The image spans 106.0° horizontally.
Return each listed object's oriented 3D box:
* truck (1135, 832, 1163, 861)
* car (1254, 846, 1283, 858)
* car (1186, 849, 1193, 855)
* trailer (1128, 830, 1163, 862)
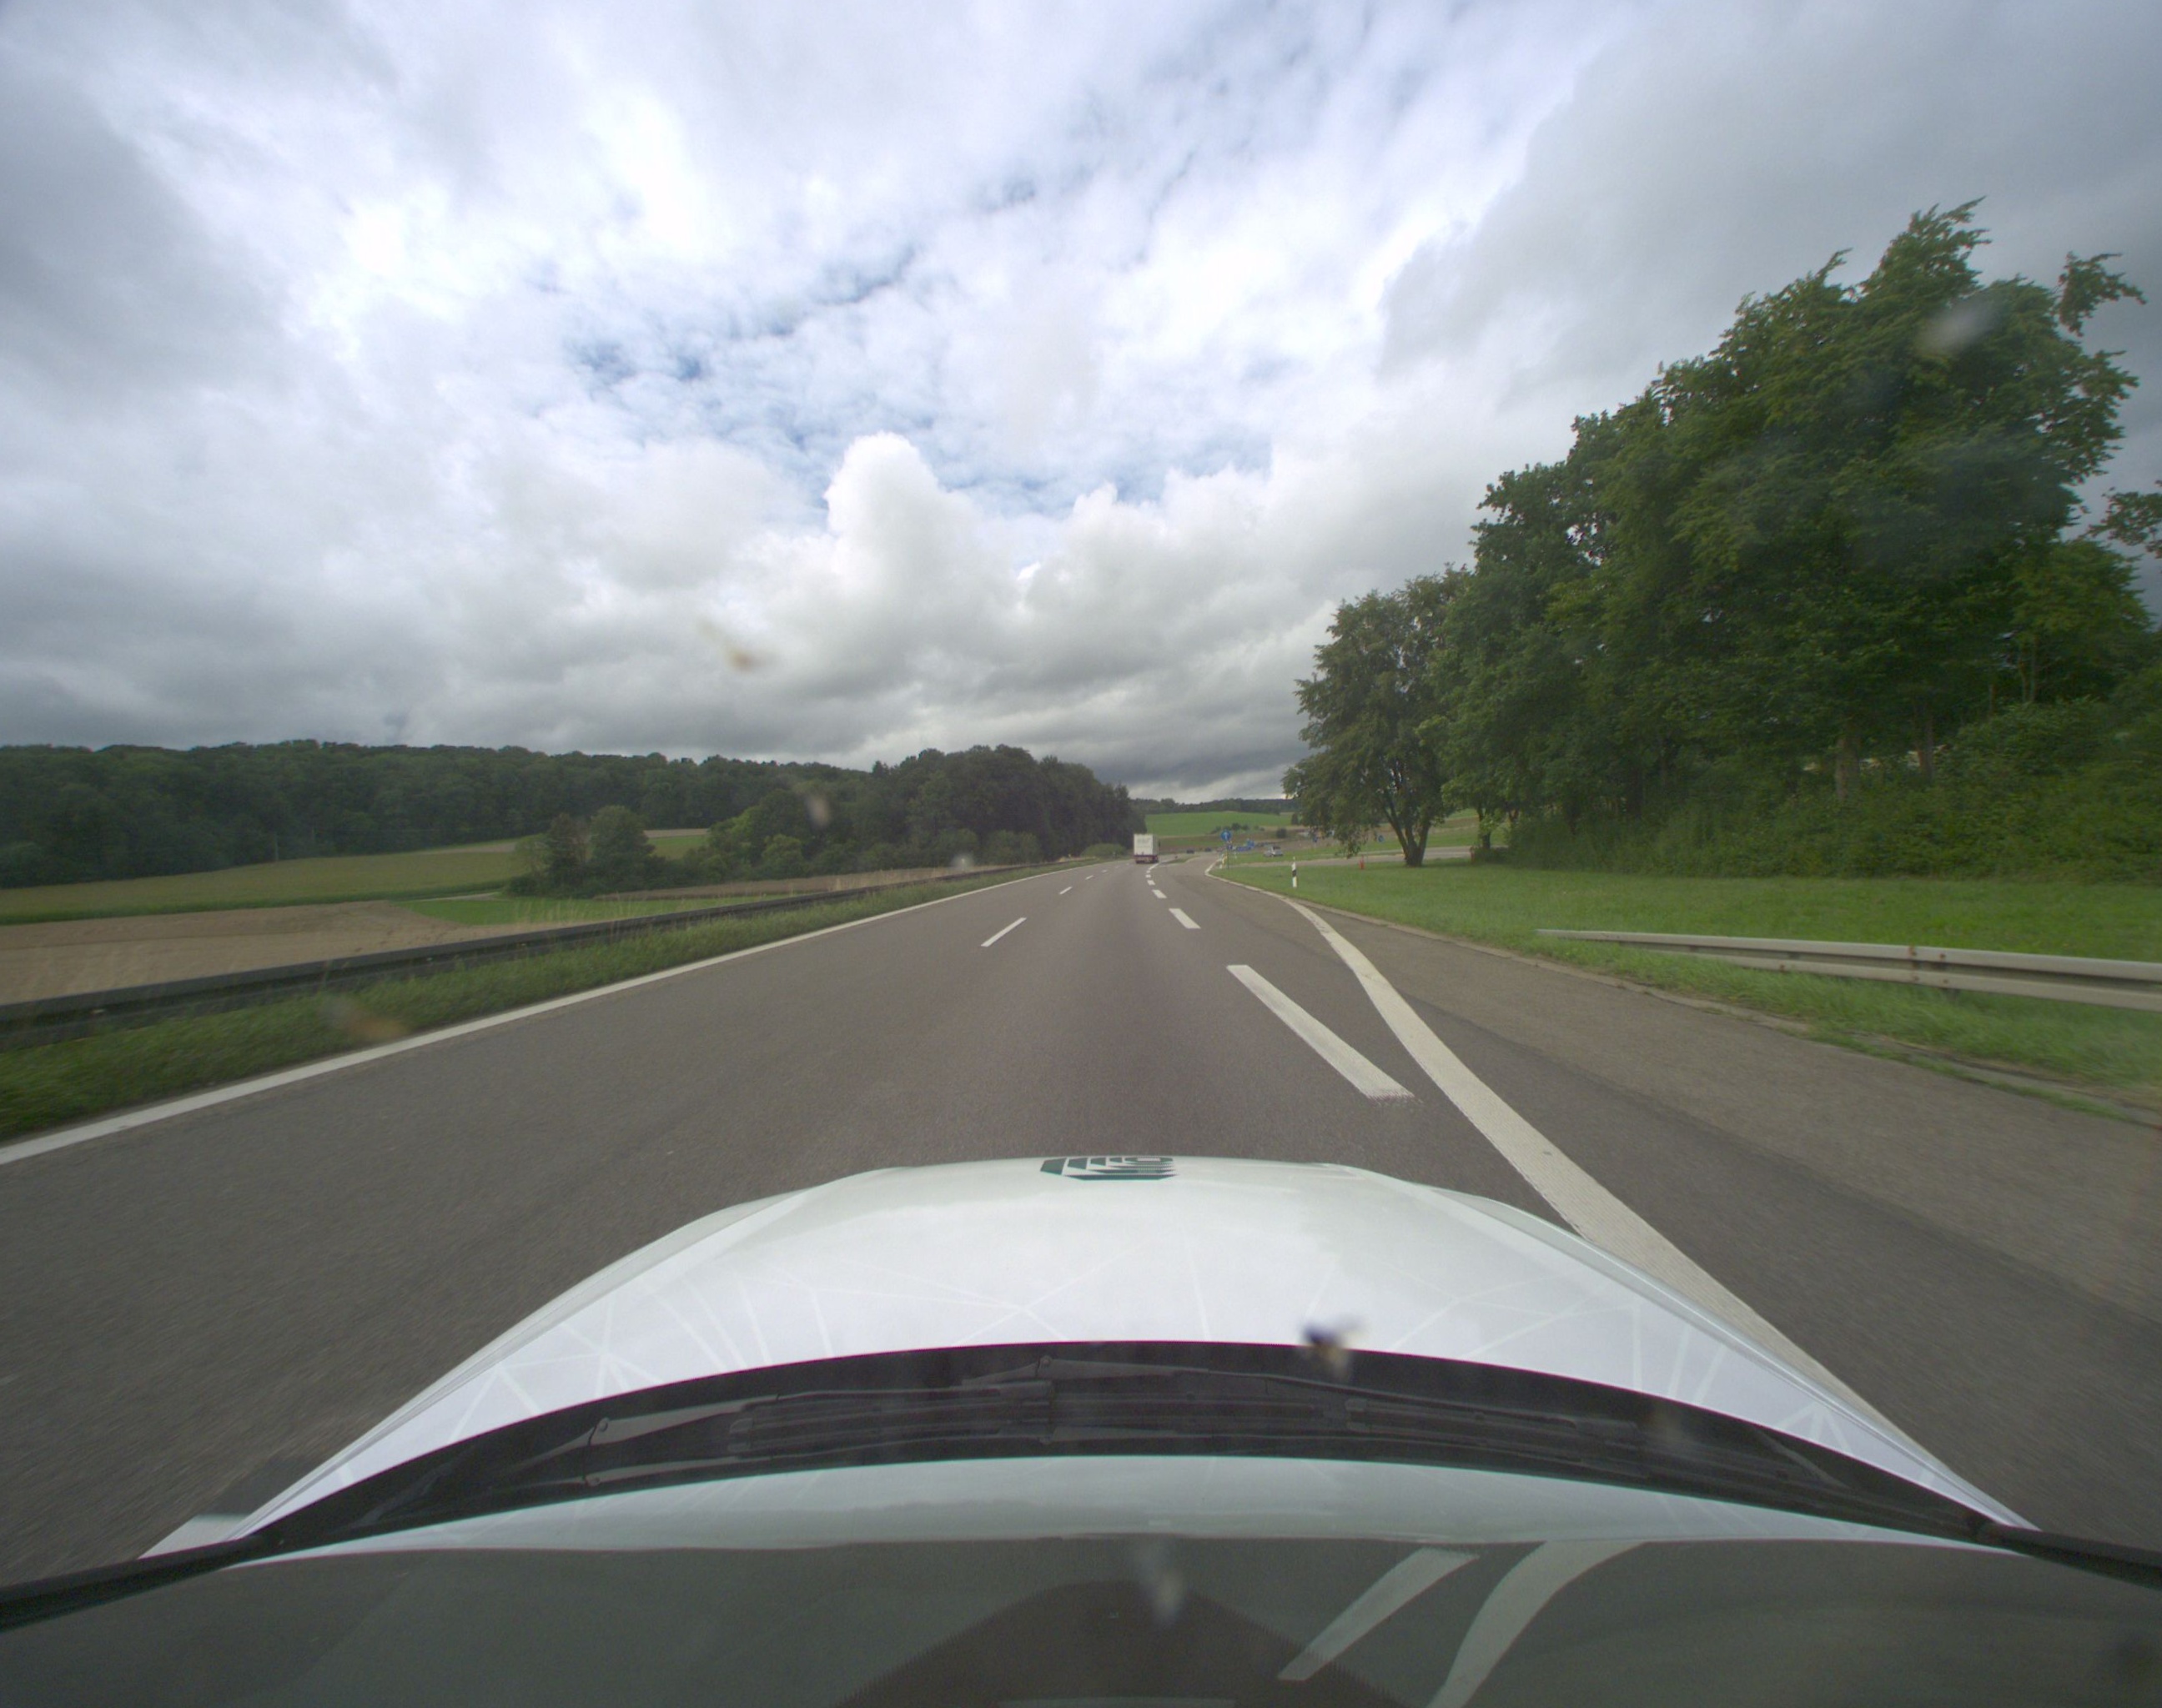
[{"bbox_3d":[10.127,-1.104,120.248,3.767,4.131,8.283,0,0,8],"label":"truck"},{"bbox_3d":[26.026,-0.217,112.992,1.786,1.552,3.968,-2,1,-24],"label":"car"},{"bbox_3d":[32.873,-0.688,246.944,1.891,1.795,4.012,-1,-1,11],"label":"car"},{"bbox_3d":[9.082,-1.057,112.926,3.784,4.174,14.843,-1,0,8],"label":"trailer"}]
